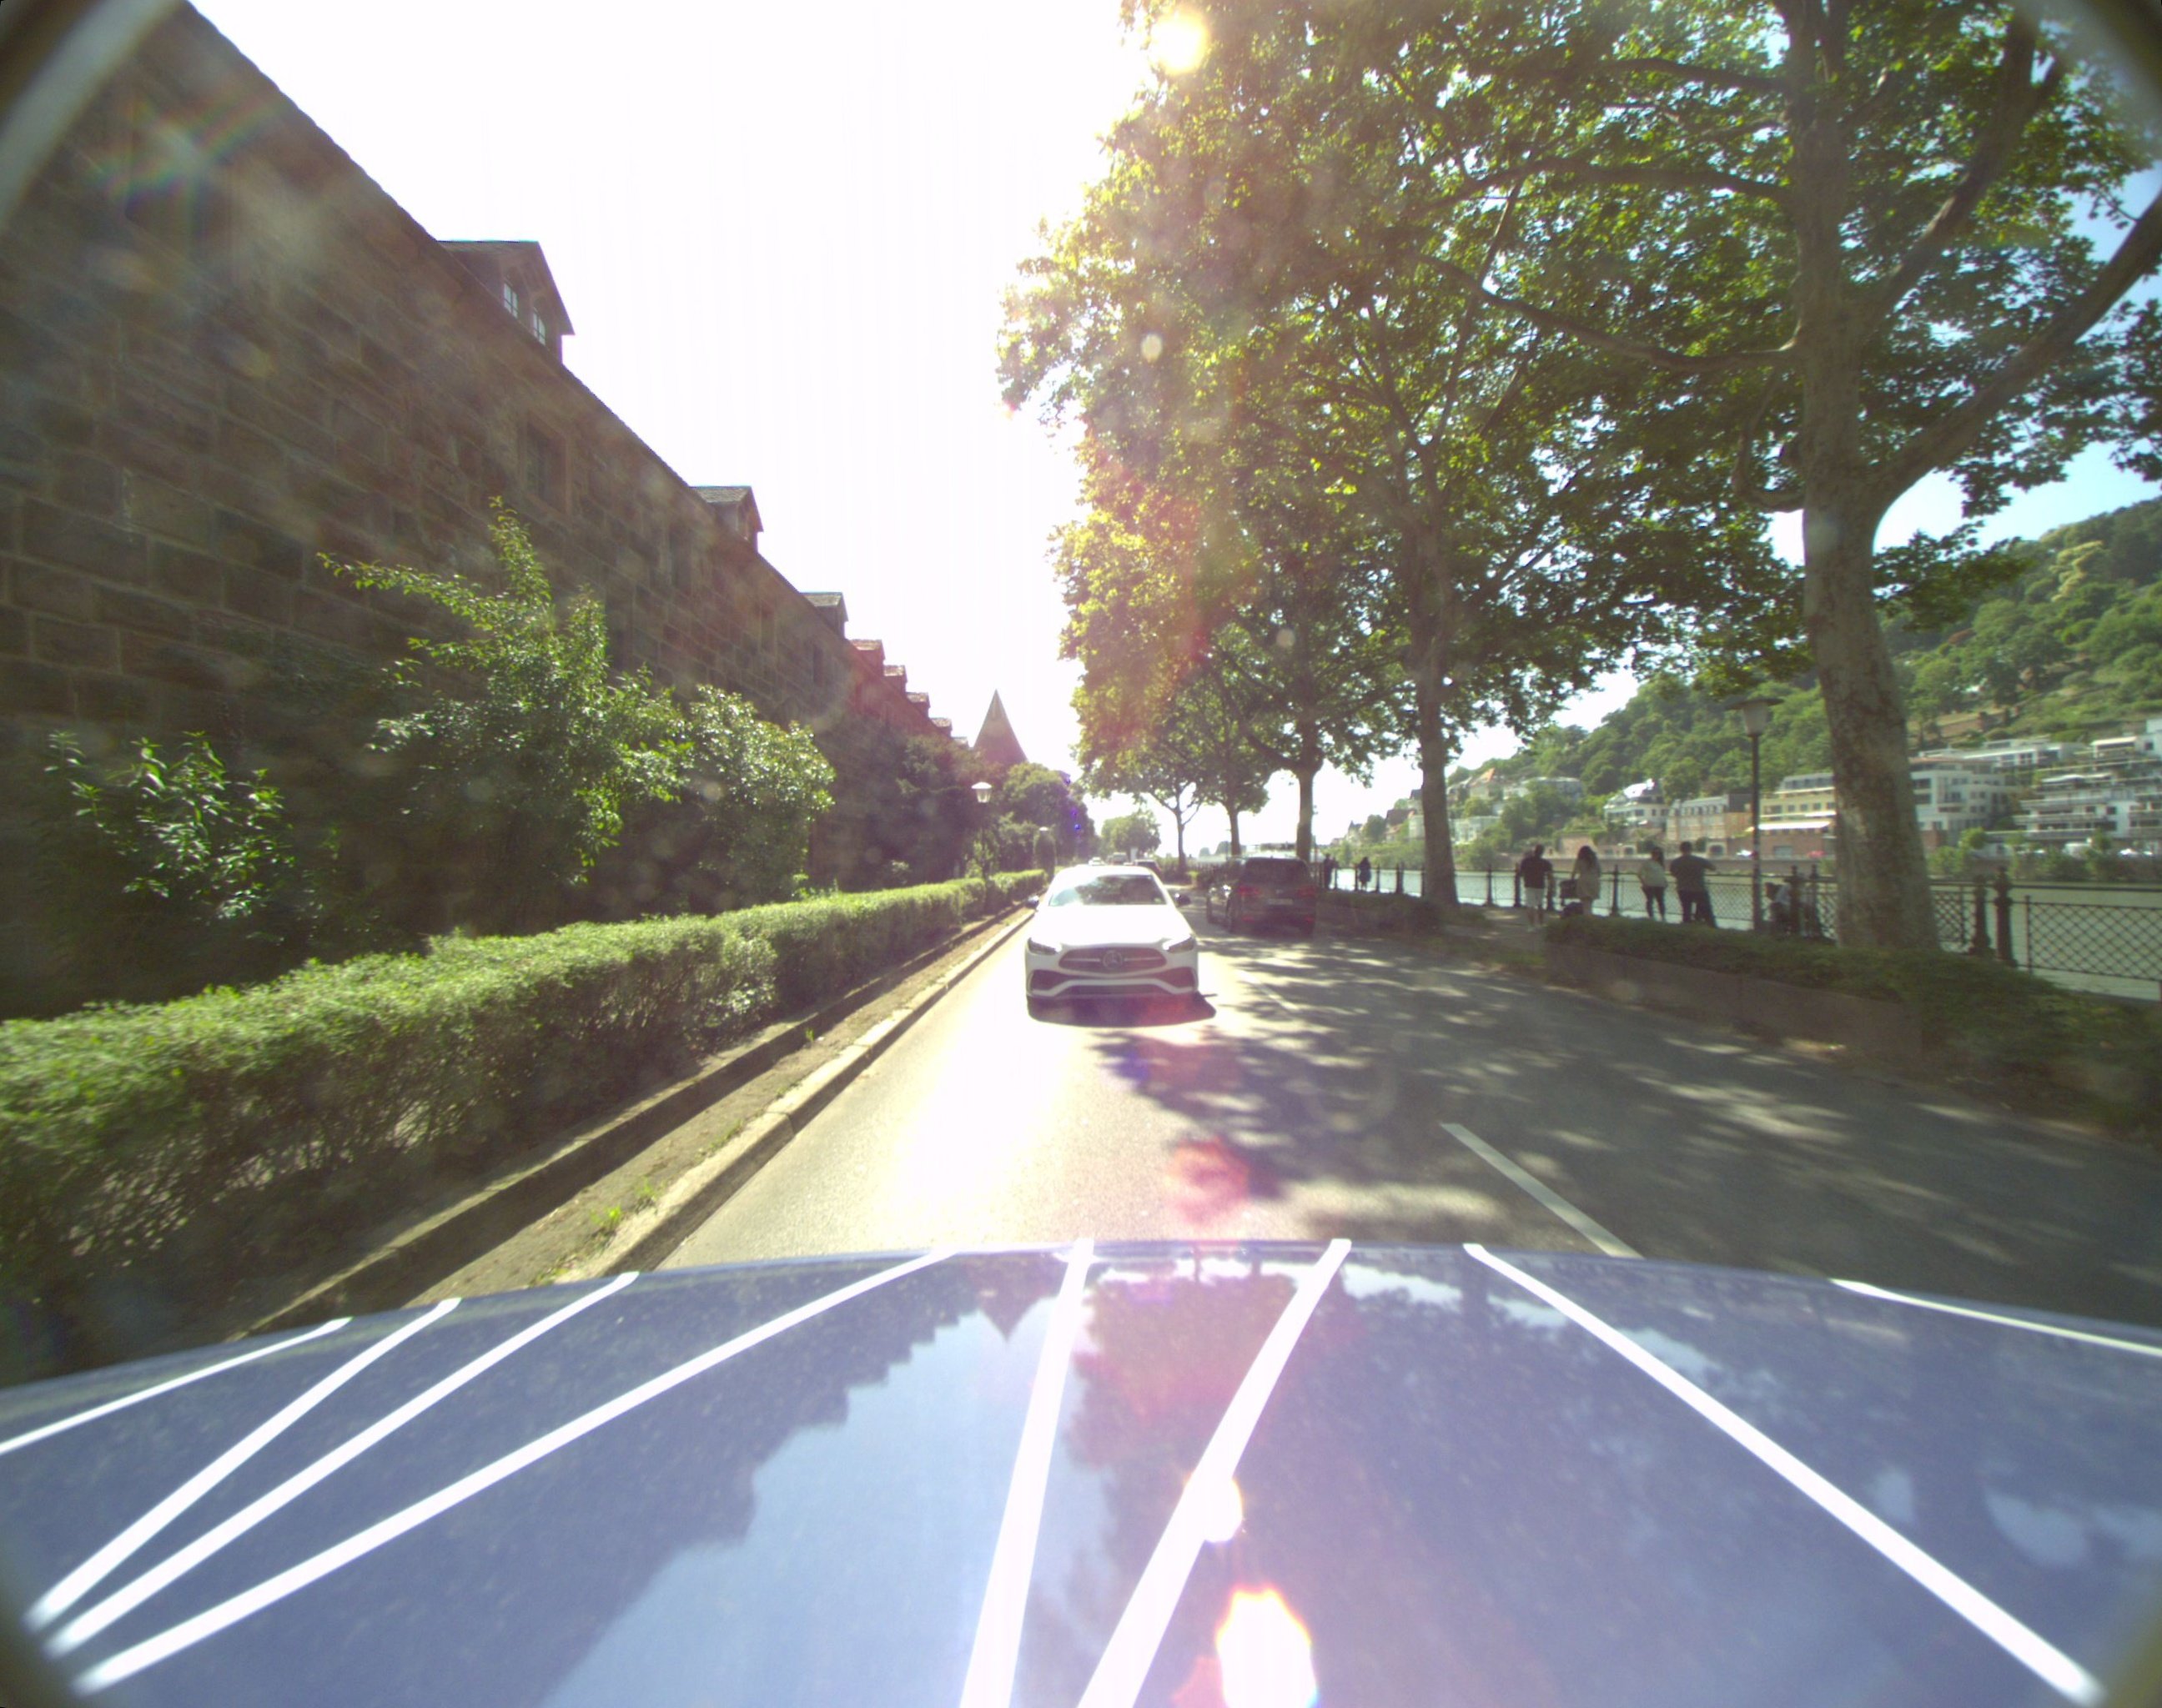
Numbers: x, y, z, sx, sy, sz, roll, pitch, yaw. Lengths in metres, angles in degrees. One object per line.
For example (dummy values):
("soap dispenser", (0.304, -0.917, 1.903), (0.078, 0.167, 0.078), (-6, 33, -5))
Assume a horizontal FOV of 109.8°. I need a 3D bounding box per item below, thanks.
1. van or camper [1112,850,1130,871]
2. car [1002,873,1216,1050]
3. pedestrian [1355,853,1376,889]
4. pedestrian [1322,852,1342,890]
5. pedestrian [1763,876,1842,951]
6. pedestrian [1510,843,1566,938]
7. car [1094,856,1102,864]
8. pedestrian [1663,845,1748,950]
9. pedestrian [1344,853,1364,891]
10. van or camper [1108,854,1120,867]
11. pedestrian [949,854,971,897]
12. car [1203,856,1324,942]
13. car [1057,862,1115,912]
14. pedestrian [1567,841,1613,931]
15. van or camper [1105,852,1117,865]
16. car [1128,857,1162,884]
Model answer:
("van or camper", (5.030, 0.846, 96.399), (1.965, 2.552, 5.841), (1, 0, 1))
("car", (0.282, 0.998, 8.834), (1.829, 1.418, 4.359), (-2, 0, 1))
("pedestrian", (12.825, 0.752, 34.240), (0.705, 1.594, 0.705), (-1, 1, 3))
("pedestrian", (11.761, 0.789, 35.640), (0.705, 1.721, 0.705), (-1, 1, 3))
("pedestrian", (11.940, 0.974, 12.592), (0.611, 1.170, 0.695), (2, 0, 2))
("pedestrian", (9.131, 0.714, 15.210), (0.642, 1.859, 0.806), (0, 0, 2))
("car", (4.377, 1.463, 193.559), (1.923, 1.975, 4.000), (0, 0, -1))
("pedestrian", (10.730, 0.726, 13.084), (0.695, 1.707, 0.874), (-3, 0, 0))
("pedestrian", (12.870, 0.844, 35.811), (0.705, 1.786, 0.705), (-1, 1, 3))
("van or camper", (7.419, 1.430, 171.782), (2.328, 2.646, 6.264), (1, 0, 1))
("pedestrian", (-4.729, 0.823, 29.770), (0.700, 1.643, 0.705), (1, 0, 3))
("car", (3.916, 0.897, 16.992), (1.767, 1.638, 4.090), (2, 0, 1))
("car", (0.207, 1.083, 26.227), (1.854, 1.543, 3.849), (0, 0, 1))
("pedestrian", (10.110, 0.627, 15.110), (0.518, 1.758, 0.592), (0, 0, 2))
("van or camper", (6.164, 0.851, 156.938), (2.328, 2.646, 6.264), (1, 0, 1))
("car", (4.156, 1.030, 49.689), (1.881, 1.688, 4.258), (1, 0, 0))
